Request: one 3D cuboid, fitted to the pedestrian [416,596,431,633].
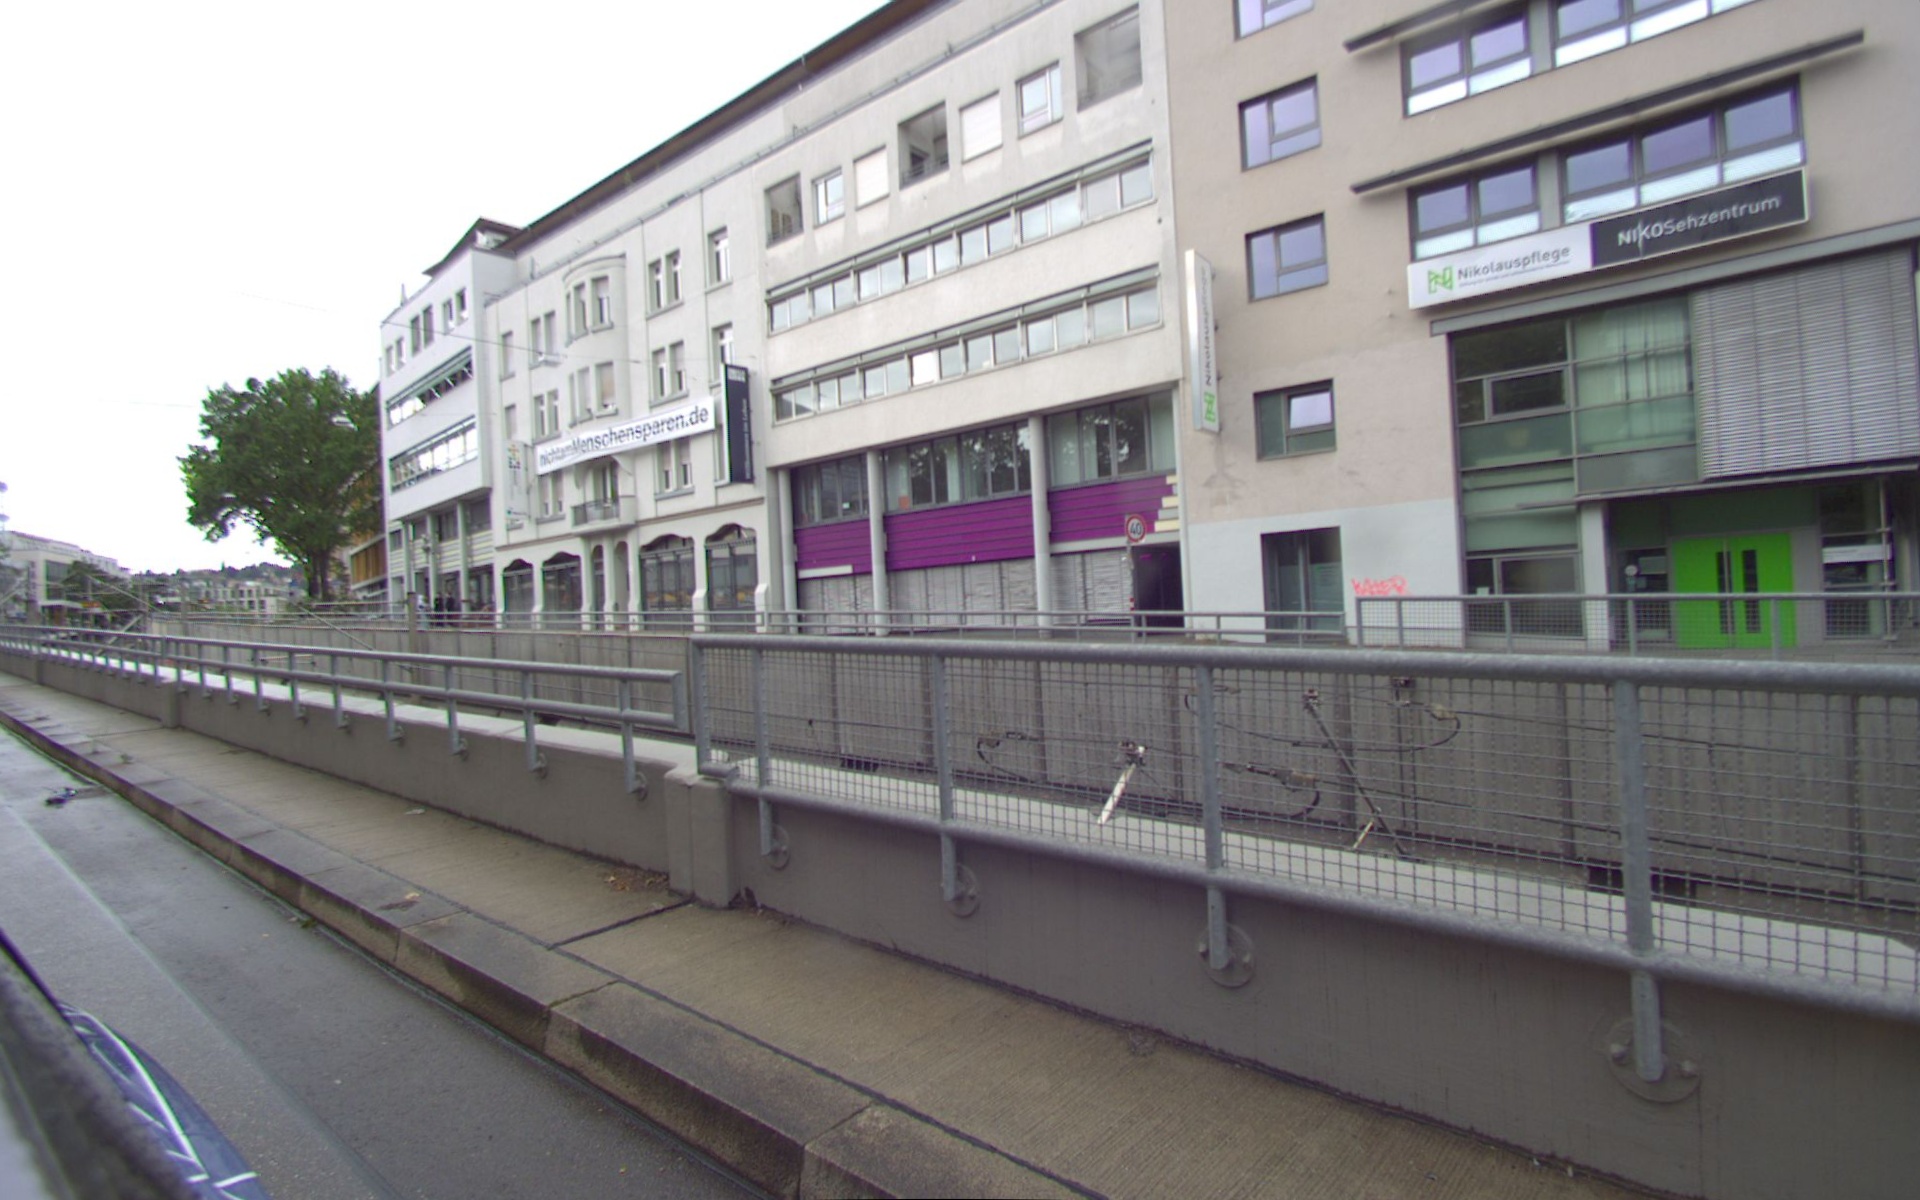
[{"bbox_3d":[-26.766,0.727,50.498,0.463,1.816,0.548,-3,1,-42],"label":"pedestrian"}]

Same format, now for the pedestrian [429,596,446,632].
[{"bbox_3d":[-26.428,0.717,51.215,0.469,1.816,0.541,-2,1,33],"label":"pedestrian"}]

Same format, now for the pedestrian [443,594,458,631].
[{"bbox_3d":[-25.414,0.617,50.467,0.547,1.816,0.463,-2,1,44],"label":"pedestrian"}]
